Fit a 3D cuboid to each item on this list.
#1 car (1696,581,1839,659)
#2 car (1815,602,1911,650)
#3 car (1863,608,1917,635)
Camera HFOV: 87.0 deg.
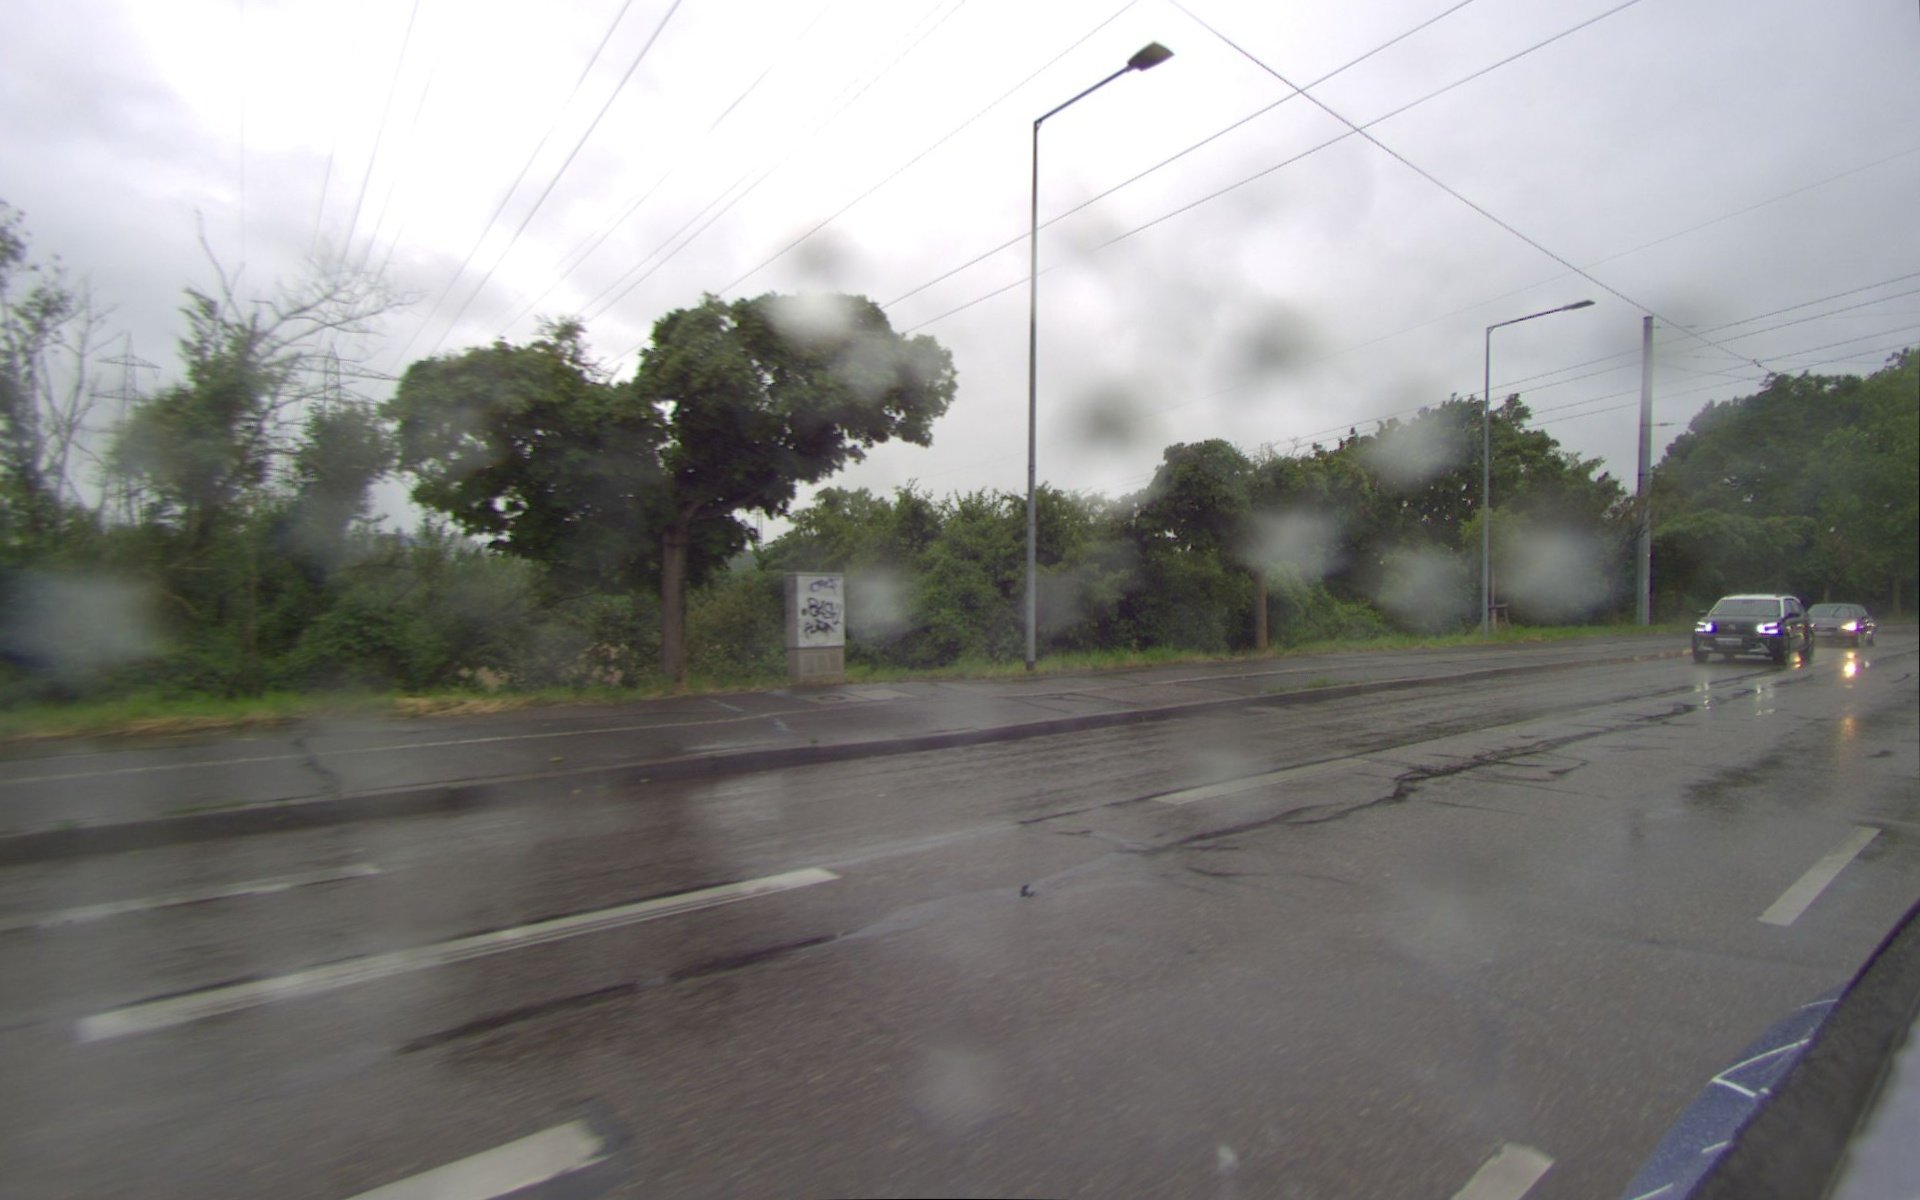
[{"bbox_3d":[19.675,0.476,24.586,4.677,1.724,1.796,1,-1,-40],"label":"car"},{"bbox_3d":[29.681,0.830,33.234,3.928,1.445,1.783,1,0,-40],"label":"car"},{"bbox_3d":[53.114,1.200,57.771,3.928,1.445,1.783,1,0,-40],"label":"car"}]
